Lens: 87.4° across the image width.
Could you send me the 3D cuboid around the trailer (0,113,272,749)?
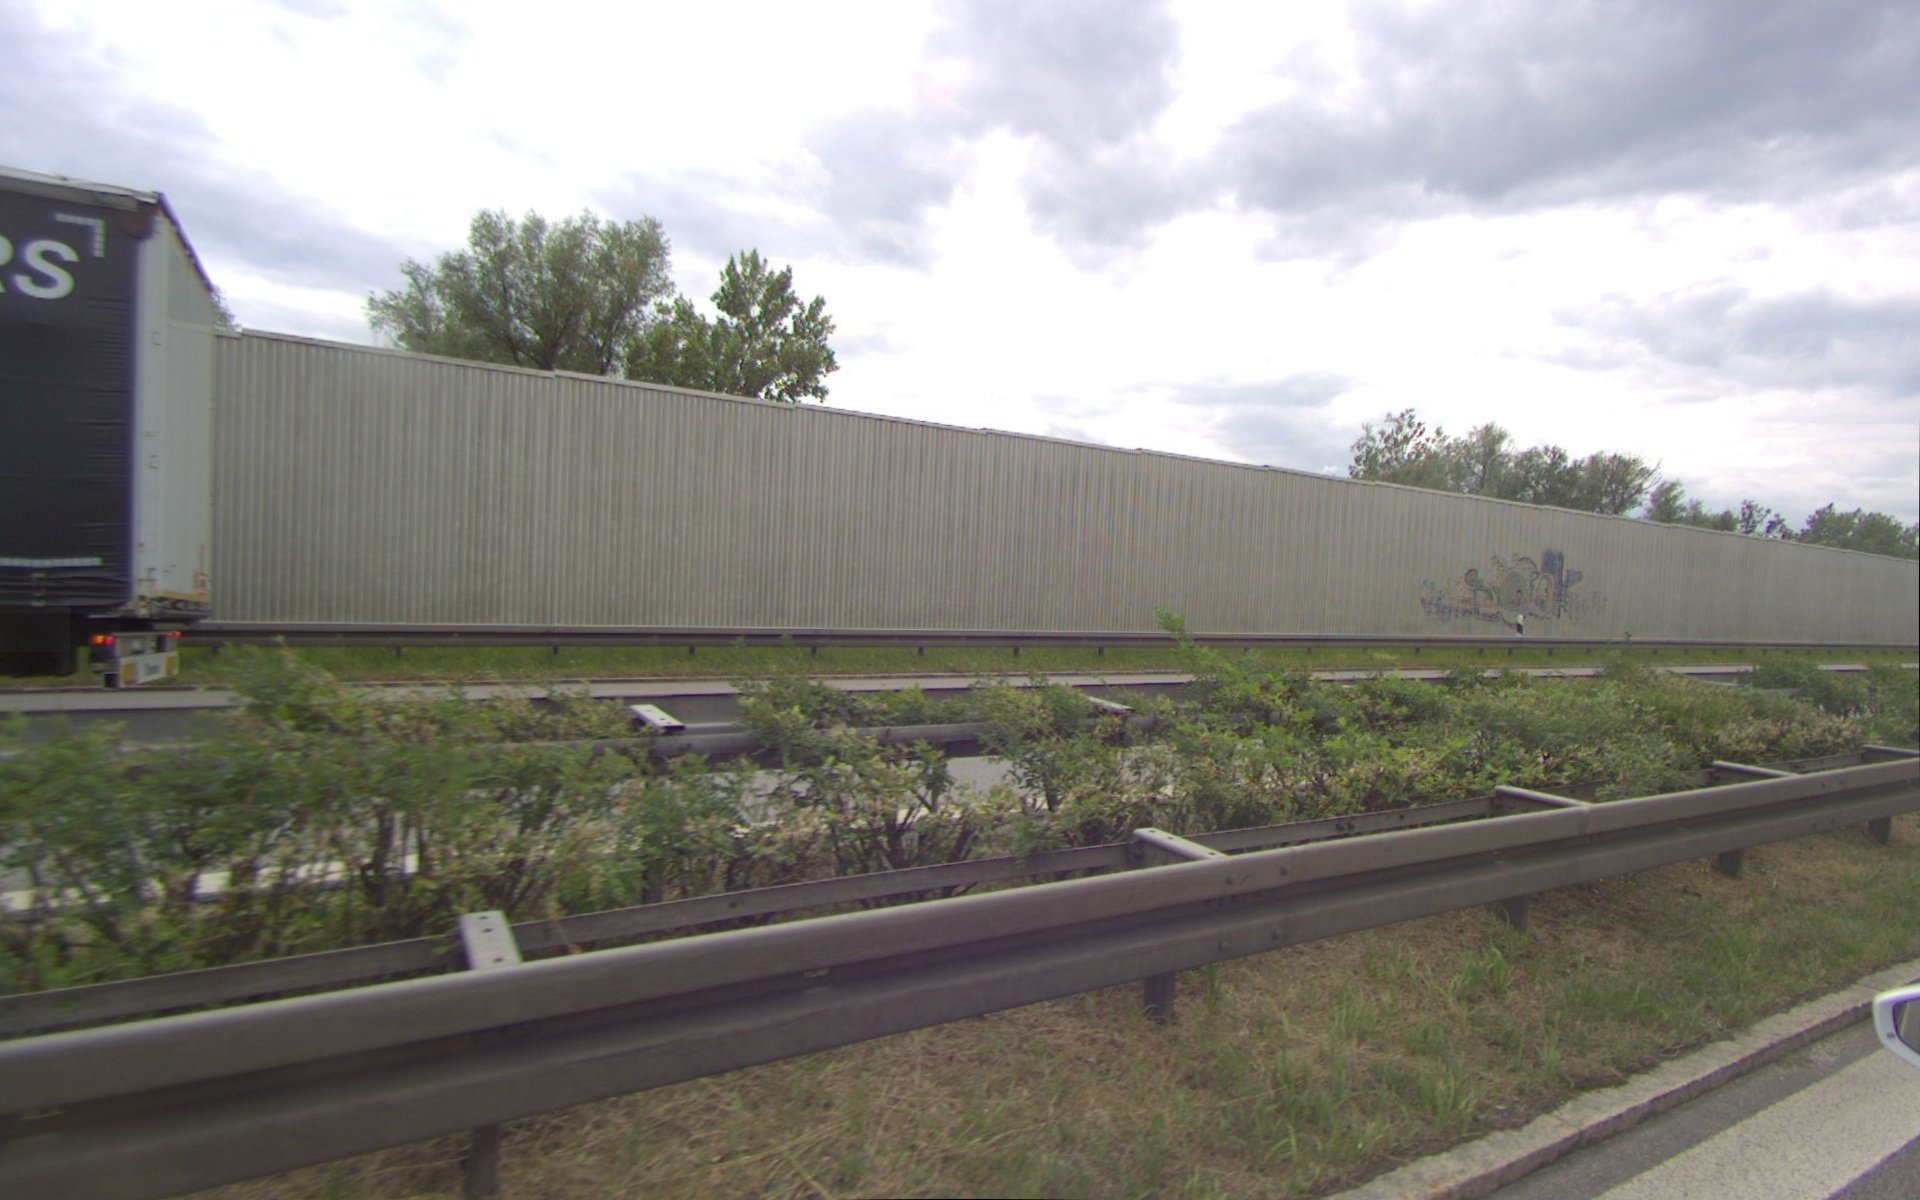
[{"bbox_3d":[-12.192,-1.285,5.136,14.013,4.296,2.967,2,0,-31],"label":"trailer"}]
